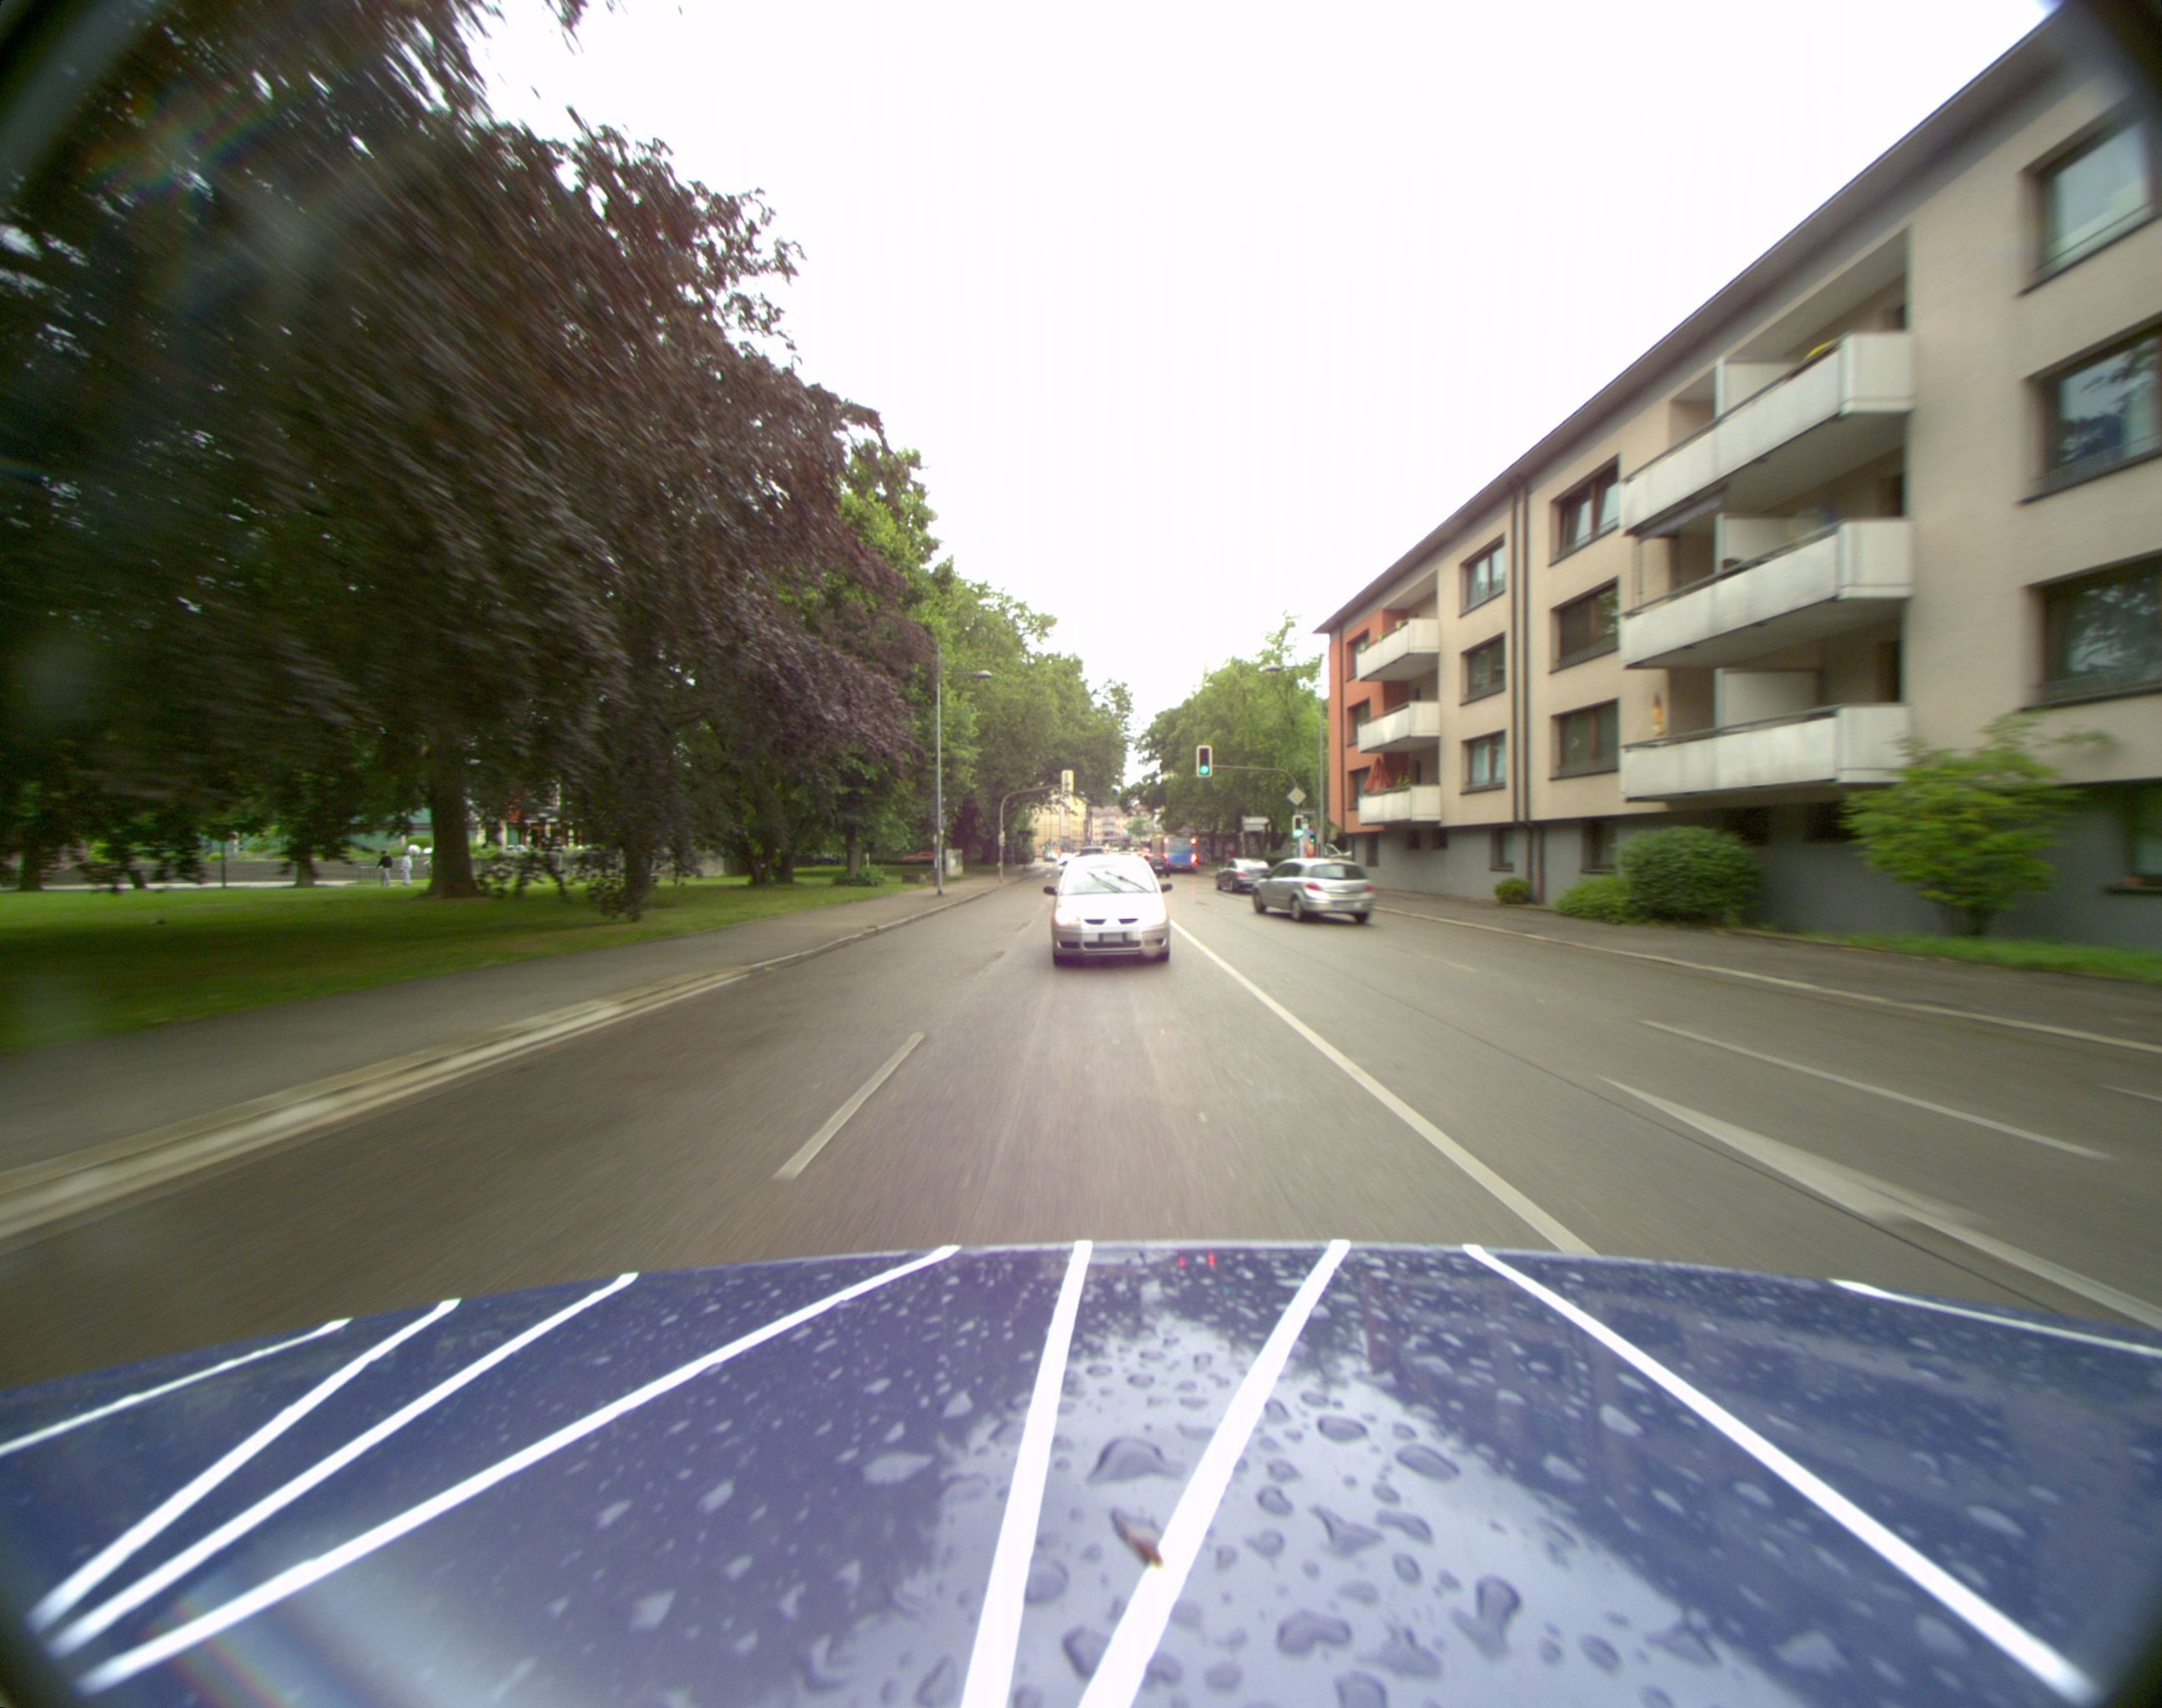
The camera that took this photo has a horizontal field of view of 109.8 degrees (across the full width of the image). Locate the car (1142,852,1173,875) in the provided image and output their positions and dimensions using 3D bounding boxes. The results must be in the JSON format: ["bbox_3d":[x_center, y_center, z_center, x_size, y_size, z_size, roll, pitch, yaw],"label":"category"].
[{"bbox_3d":[5.074,0.593,50.563,1.691,1.483,3.890,1,0,0],"label":"car"}]

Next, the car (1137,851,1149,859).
[{"bbox_3d":[11.427,0.175,139.971,1.802,1.508,4.807,1,0,0],"label":"car"}]

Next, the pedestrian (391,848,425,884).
[{"bbox_3d":[-34.126,0.596,38.529,0.840,1.753,0.879,-3,1,-5],"label":"pedestrian"}]

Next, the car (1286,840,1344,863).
[{"bbox_3d":[19.536,-0.191,63.517,4.334,1.911,1.702,0,1,-2],"label":"car"}]

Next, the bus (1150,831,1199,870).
[{"bbox_3d":[7.679,-0.362,63.939,2.700,2.923,12.082,0,1,1],"label":"bus"}]

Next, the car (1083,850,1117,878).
[{"bbox_3d":[1.084,0.516,42.566,1.800,1.449,4.491,0,1,1],"label":"car"}]

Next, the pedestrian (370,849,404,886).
[{"bbox_3d":[-34.182,0.654,37.412,0.840,1.753,0.771,-3,1,-5],"label":"pedestrian"}]

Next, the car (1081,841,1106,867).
[{"bbox_3d":[1.118,-0.046,65.124,2.037,2.119,3.999,-1,1,2],"label":"car"}]

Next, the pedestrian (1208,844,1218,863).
[{"bbox_3d":[12.292,-0.042,70.579,0.711,1.759,0.687,-3,1,1],"label":"pedestrian"}]

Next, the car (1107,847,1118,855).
[{"bbox_3d":[5.838,-0.538,142.256,1.802,1.508,4.580,1,0,0],"label":"car"}]

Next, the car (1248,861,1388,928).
[{"bbox_3d":[5.530,0.885,18.297,1.818,1.407,4.046,0,0,-5],"label":"car"}]

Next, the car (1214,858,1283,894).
[{"bbox_3d":[6.891,0.865,31.775,1.818,1.407,4.682,0,0,-1],"label":"car"}]

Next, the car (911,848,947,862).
[{"bbox_3d":[-18.369,0.125,91.963,3.998,1.706,1.999,0,1,-2],"label":"car"}]

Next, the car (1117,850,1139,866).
[{"bbox_3d":[4.397,0.347,71.140,1.798,1.407,4.335,0,0,0],"label":"car"}]

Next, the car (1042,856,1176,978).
[{"bbox_3d":[0.389,0.835,12.447,1.718,1.509,4.806,-2,0,0],"label":"car"}]

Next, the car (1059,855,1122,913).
[{"bbox_3d":[0.277,0.820,22.866,1.718,1.509,4.088,-1,0,0],"label":"car"}]

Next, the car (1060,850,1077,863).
[{"bbox_3d":[-1.470,0.309,92.859,1.906,1.538,3.999,-1,1,2],"label":"car"}]
